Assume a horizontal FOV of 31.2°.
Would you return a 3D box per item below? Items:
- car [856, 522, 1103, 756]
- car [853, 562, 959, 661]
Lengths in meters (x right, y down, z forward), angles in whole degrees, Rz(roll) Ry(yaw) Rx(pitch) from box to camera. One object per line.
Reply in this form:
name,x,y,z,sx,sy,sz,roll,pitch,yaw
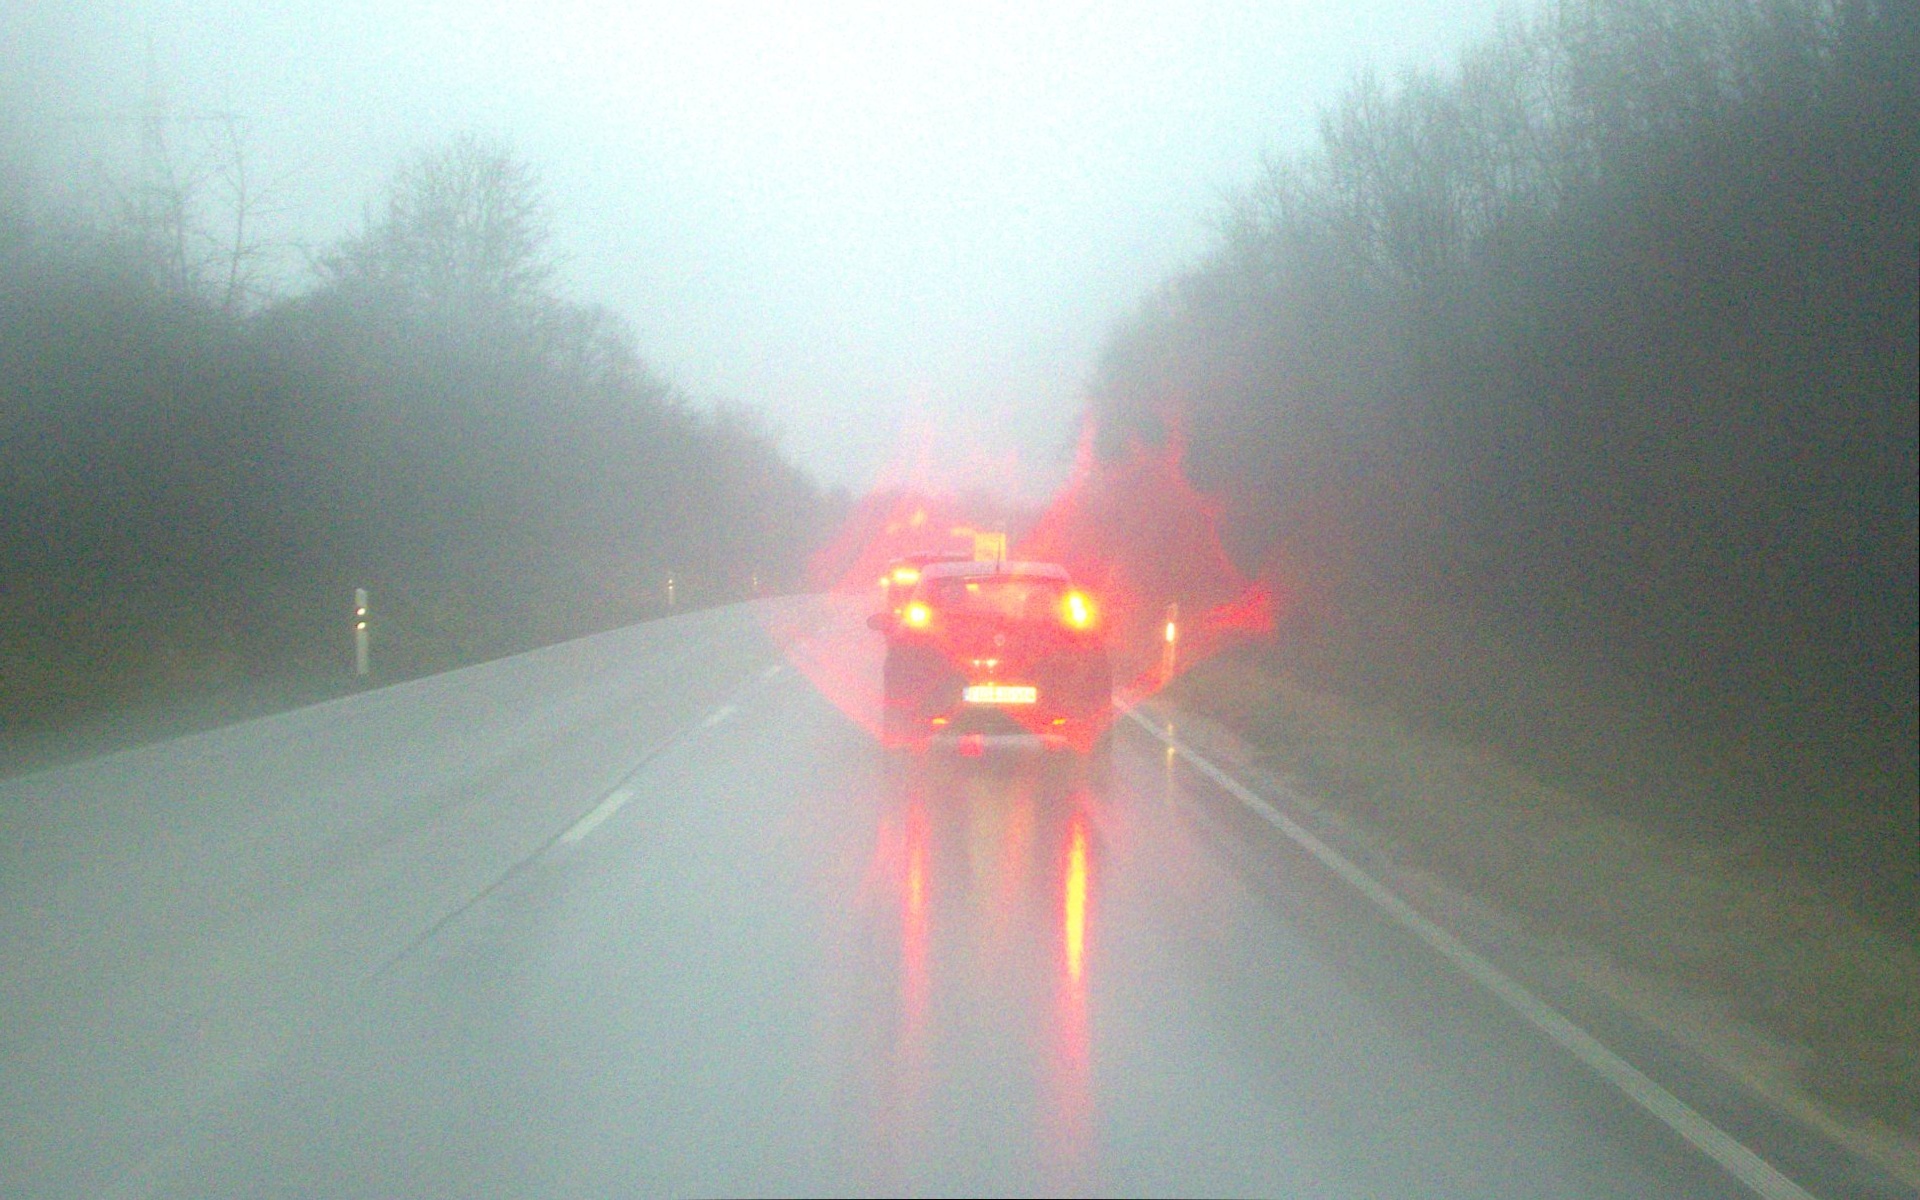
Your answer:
car,0.159,0.262,26.393,1.728,1.638,4.000,1,0,1
car,-0.906,0.179,59.853,1.728,1.638,4.000,1,0,1
